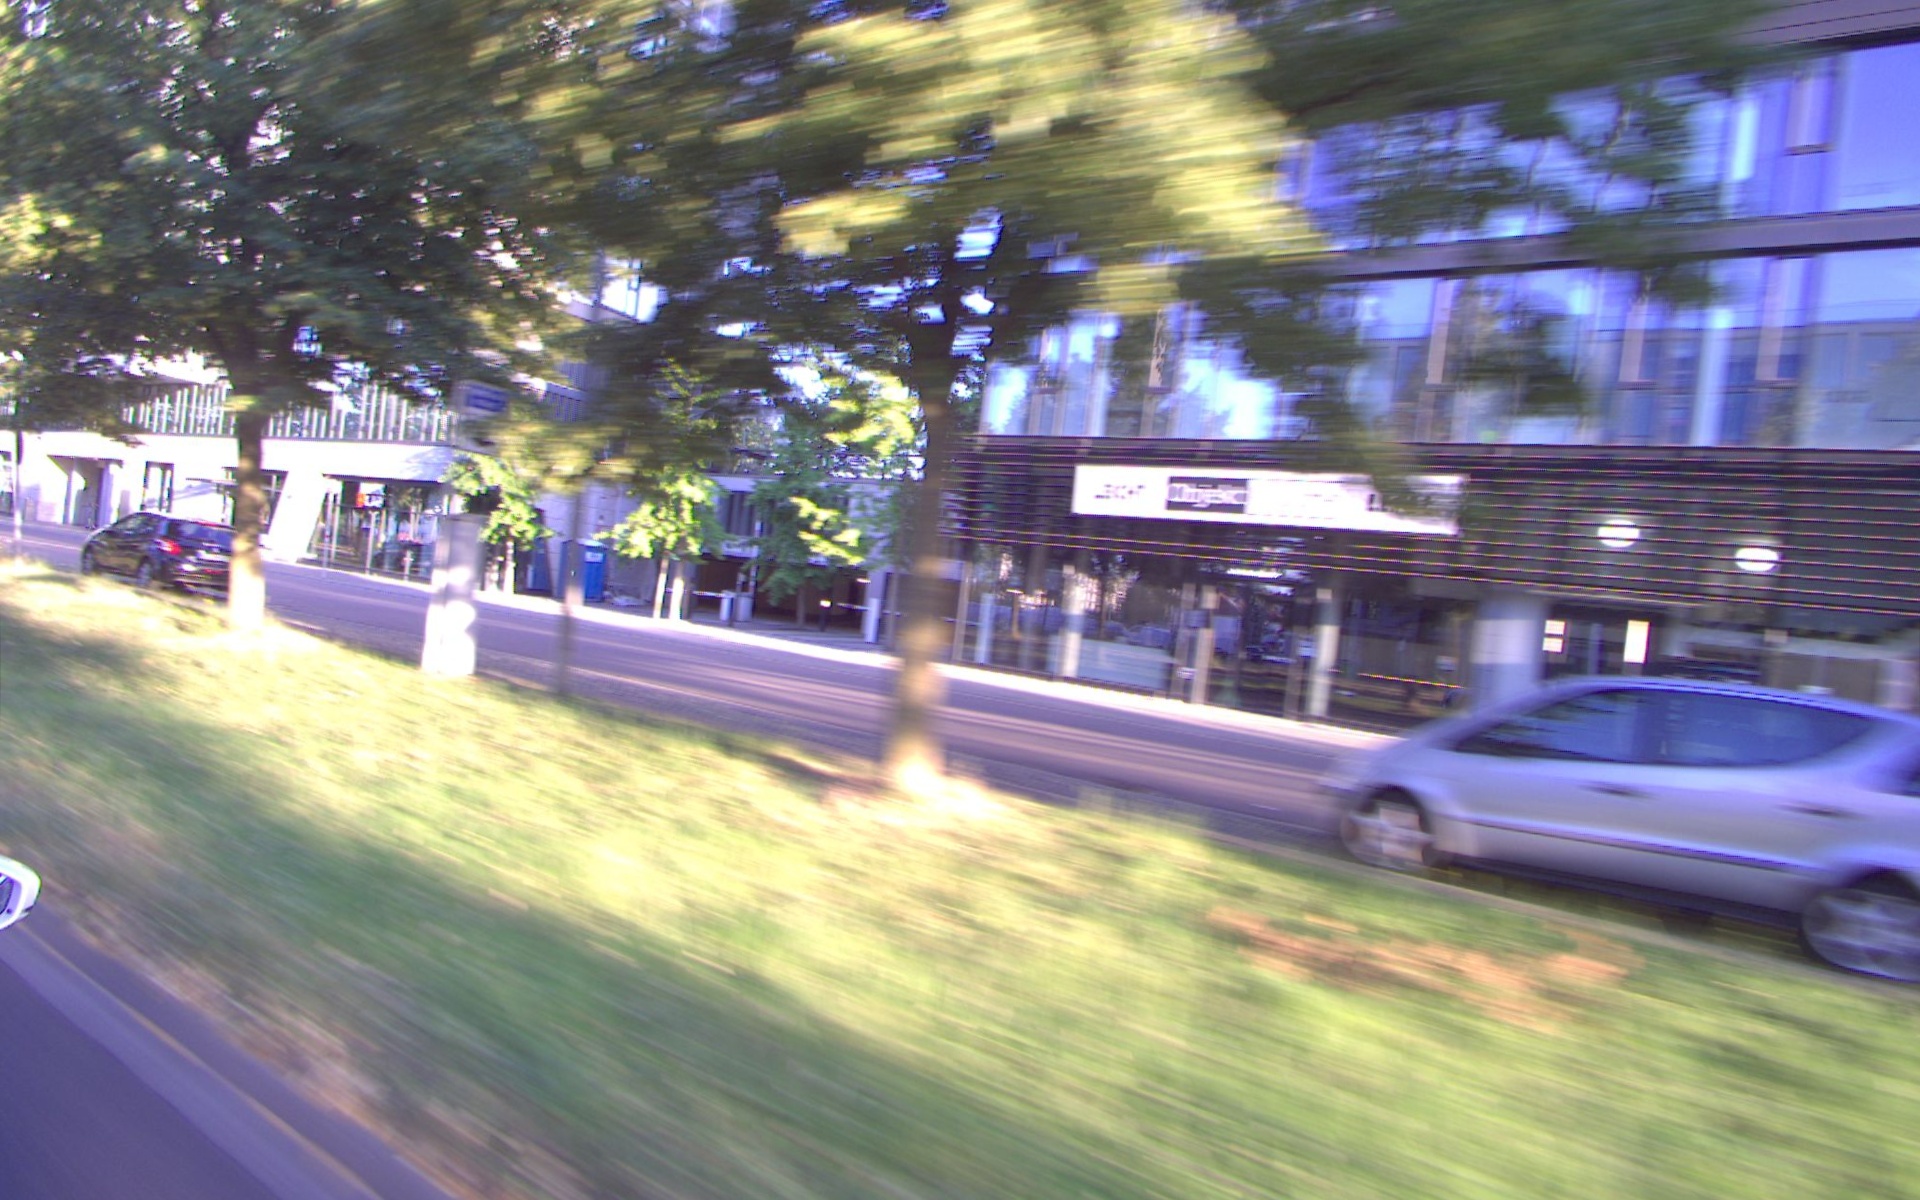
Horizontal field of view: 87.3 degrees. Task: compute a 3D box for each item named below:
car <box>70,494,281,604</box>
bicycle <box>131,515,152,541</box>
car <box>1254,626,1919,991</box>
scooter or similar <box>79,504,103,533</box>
[{"bbox_3d":[-15.014,-0.995,19.217,3.934,1.510,1.785,7,-3,32],"label":"car"},{"bbox_3d":[-35.703,-3.143,43.904,0.450,1.040,1.382,6,0,-31],"label":"bicycle"},{"bbox_3d":[4.400,1.263,7.118,3.993,1.589,1.842,7,-1,31],"label":"car"},{"bbox_3d":[-40.639,-3.801,47.045,1.209,1.226,0.472,7,1,33],"label":"scooter or similar"}]
